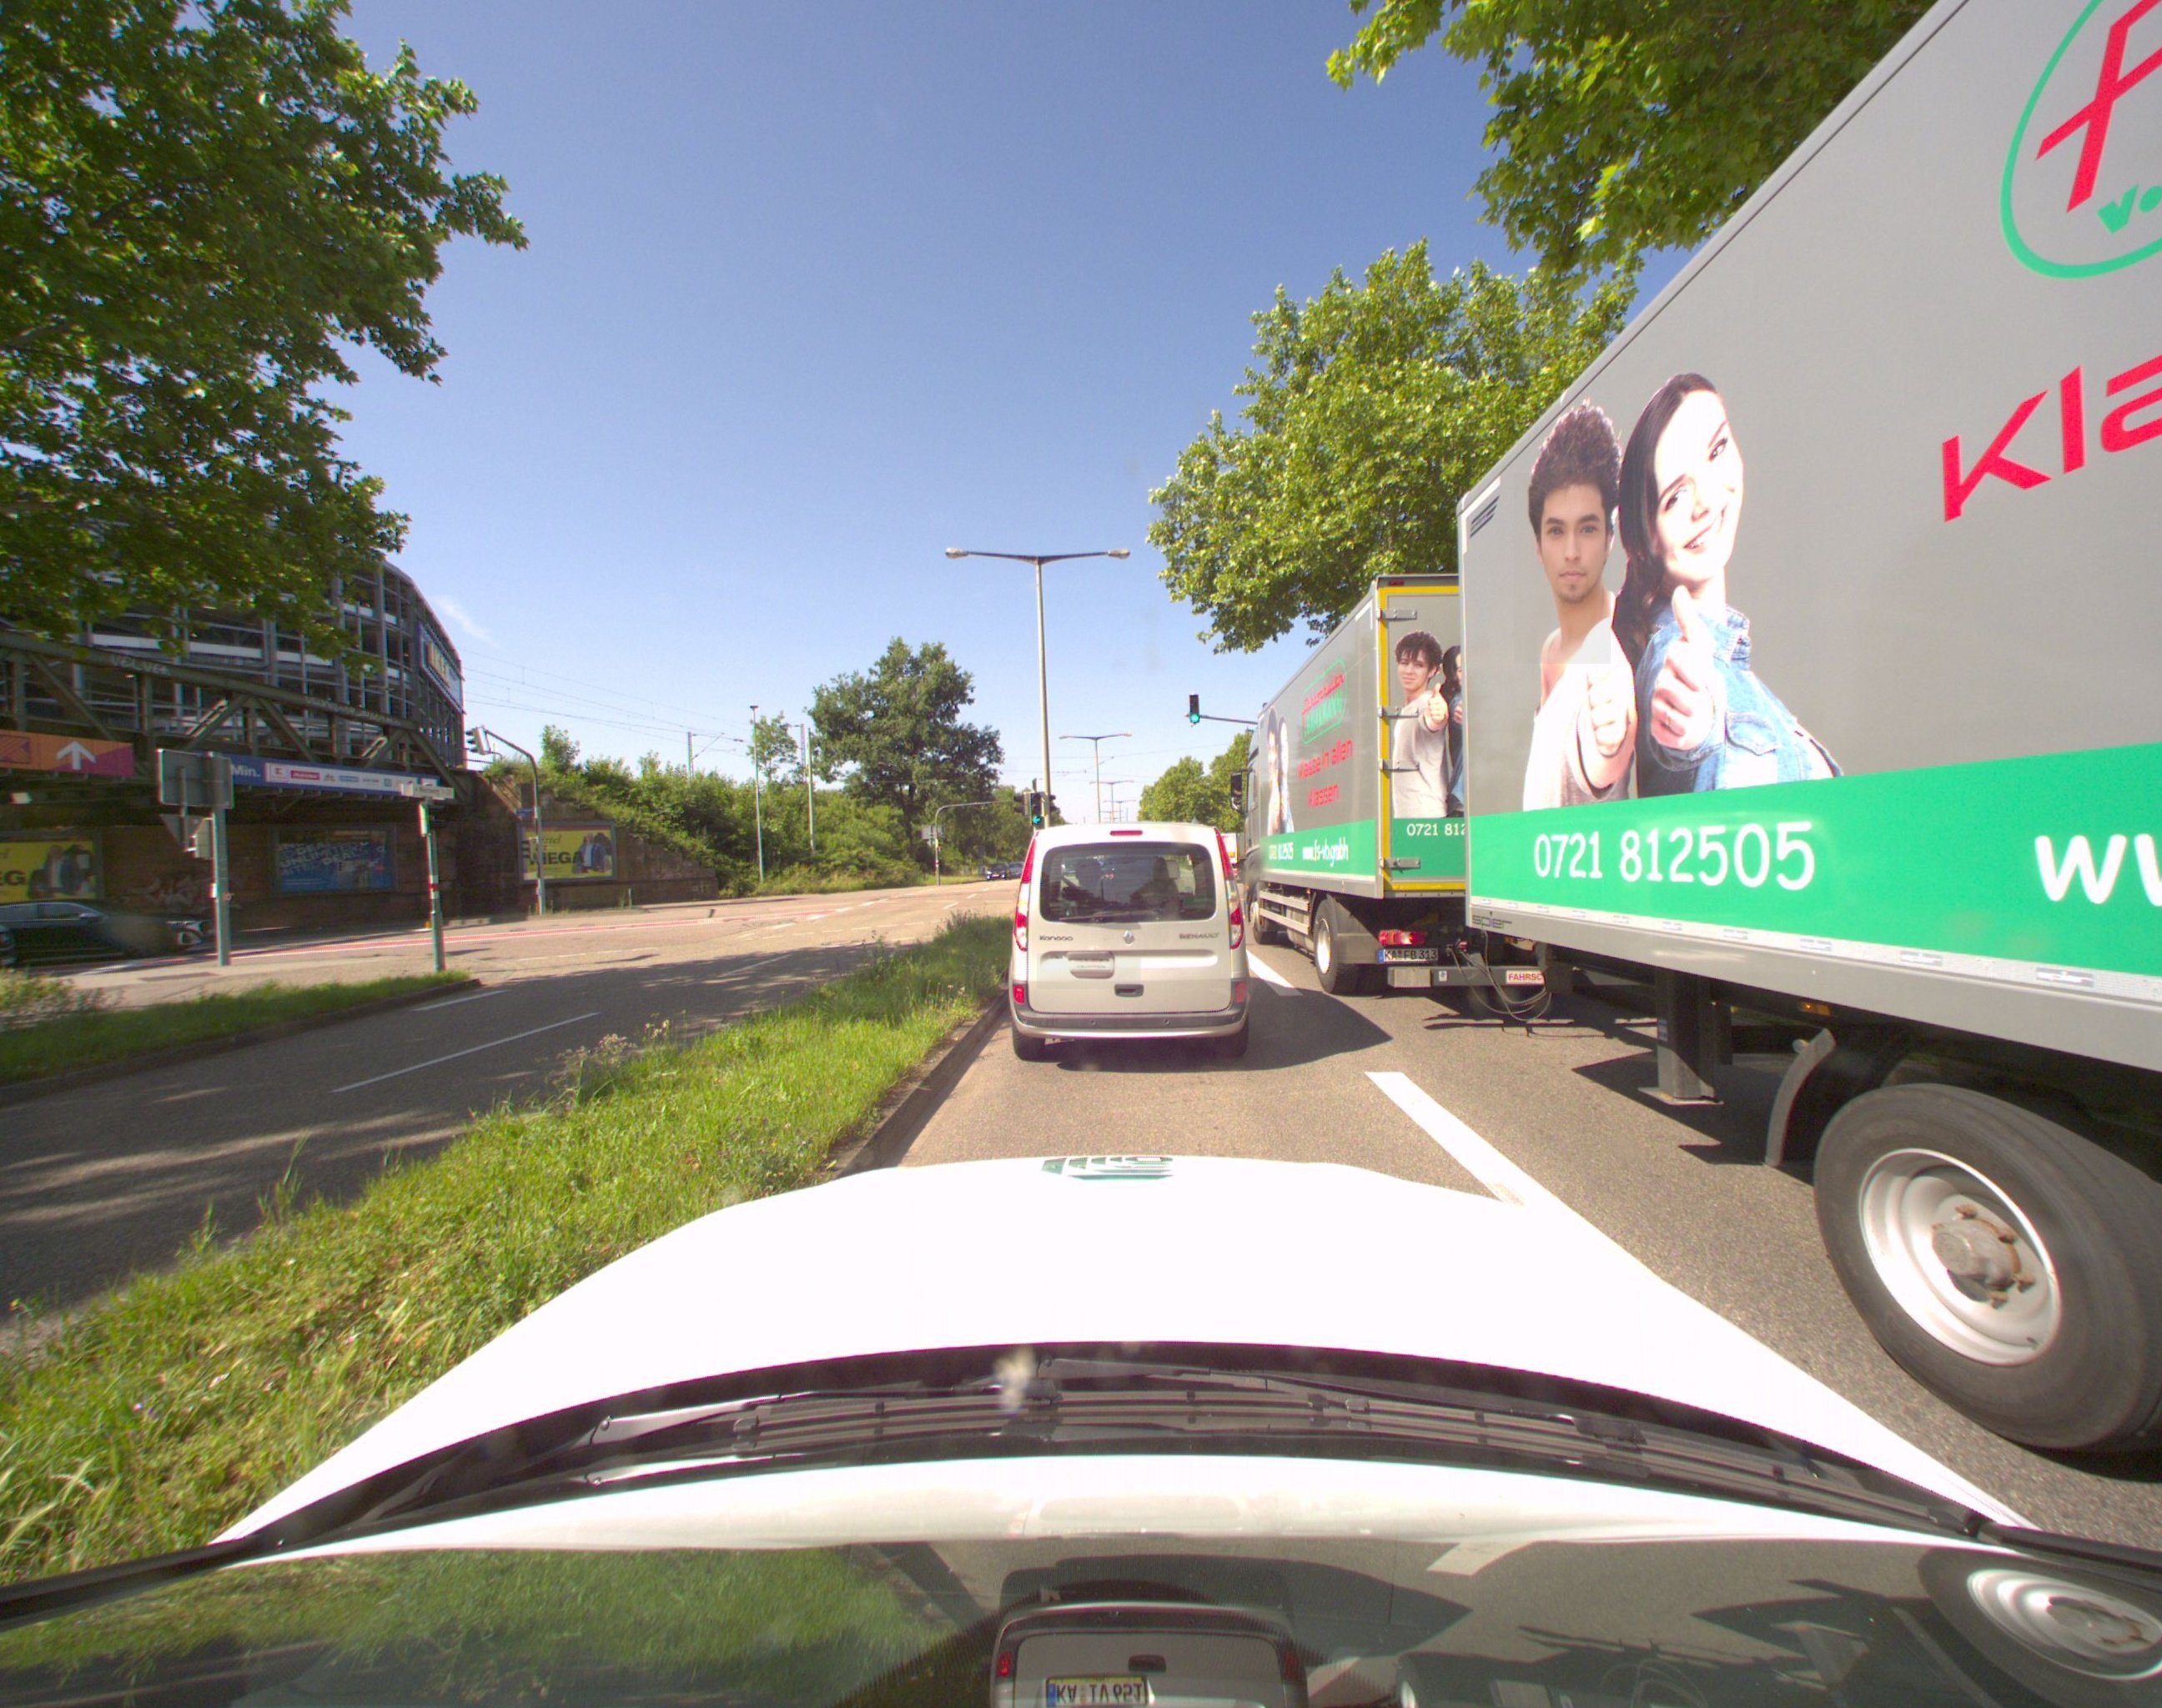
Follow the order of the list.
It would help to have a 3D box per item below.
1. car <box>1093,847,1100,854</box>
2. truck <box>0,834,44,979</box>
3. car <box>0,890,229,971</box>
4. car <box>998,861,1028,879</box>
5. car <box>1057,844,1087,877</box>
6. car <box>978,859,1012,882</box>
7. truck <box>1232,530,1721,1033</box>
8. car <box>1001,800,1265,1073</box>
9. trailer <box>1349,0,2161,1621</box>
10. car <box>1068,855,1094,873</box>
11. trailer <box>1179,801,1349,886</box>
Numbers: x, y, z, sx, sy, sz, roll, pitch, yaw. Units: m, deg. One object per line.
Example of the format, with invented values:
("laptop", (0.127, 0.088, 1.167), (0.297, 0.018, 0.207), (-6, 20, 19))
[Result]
("car", (4.756, -1.073, 254.343), (1.880, 2.014, 4.004), (0, -1, 4))
("truck", (-26.345, 1.312, 15.993), (6.890, 3.105, 2.196), (-4, 1, -32))
("car", (-25.785, 1.965, 21.580), (4.015, 1.646, 1.885), (-4, 1, -32))
("car", (-6.068, 1.421, 73.017), (1.984, 1.540, 4.241), (-3, -1, 5))
("car", (-0.699, 0.537, 69.282), (1.984, 2.607, 5.140), (-3, -1, 5))
("car", (-6.860, 1.295, 65.232), (1.902, 1.641, 3.742), (-3, -1, 5))
("truck", (3.906, -0.522, 10.810), (2.717, 3.889, 8.732), (-2, -1, 4))
("car", (0.415, 0.578, 7.524), (1.779, 1.838, 4.001), (0, -1, 2))
("trailer", (3.319, -0.595, 2.586), (2.724, 3.877, 7.743), (-2, -1, 4))
("car", (0.053, 0.934, 75.987), (1.984, 1.585, 4.005), (-3, -1, 5))
("trailer", (9.517, -0.405, 40.459), (2.872, 3.622, 12.765), (-1, -1, 39))
